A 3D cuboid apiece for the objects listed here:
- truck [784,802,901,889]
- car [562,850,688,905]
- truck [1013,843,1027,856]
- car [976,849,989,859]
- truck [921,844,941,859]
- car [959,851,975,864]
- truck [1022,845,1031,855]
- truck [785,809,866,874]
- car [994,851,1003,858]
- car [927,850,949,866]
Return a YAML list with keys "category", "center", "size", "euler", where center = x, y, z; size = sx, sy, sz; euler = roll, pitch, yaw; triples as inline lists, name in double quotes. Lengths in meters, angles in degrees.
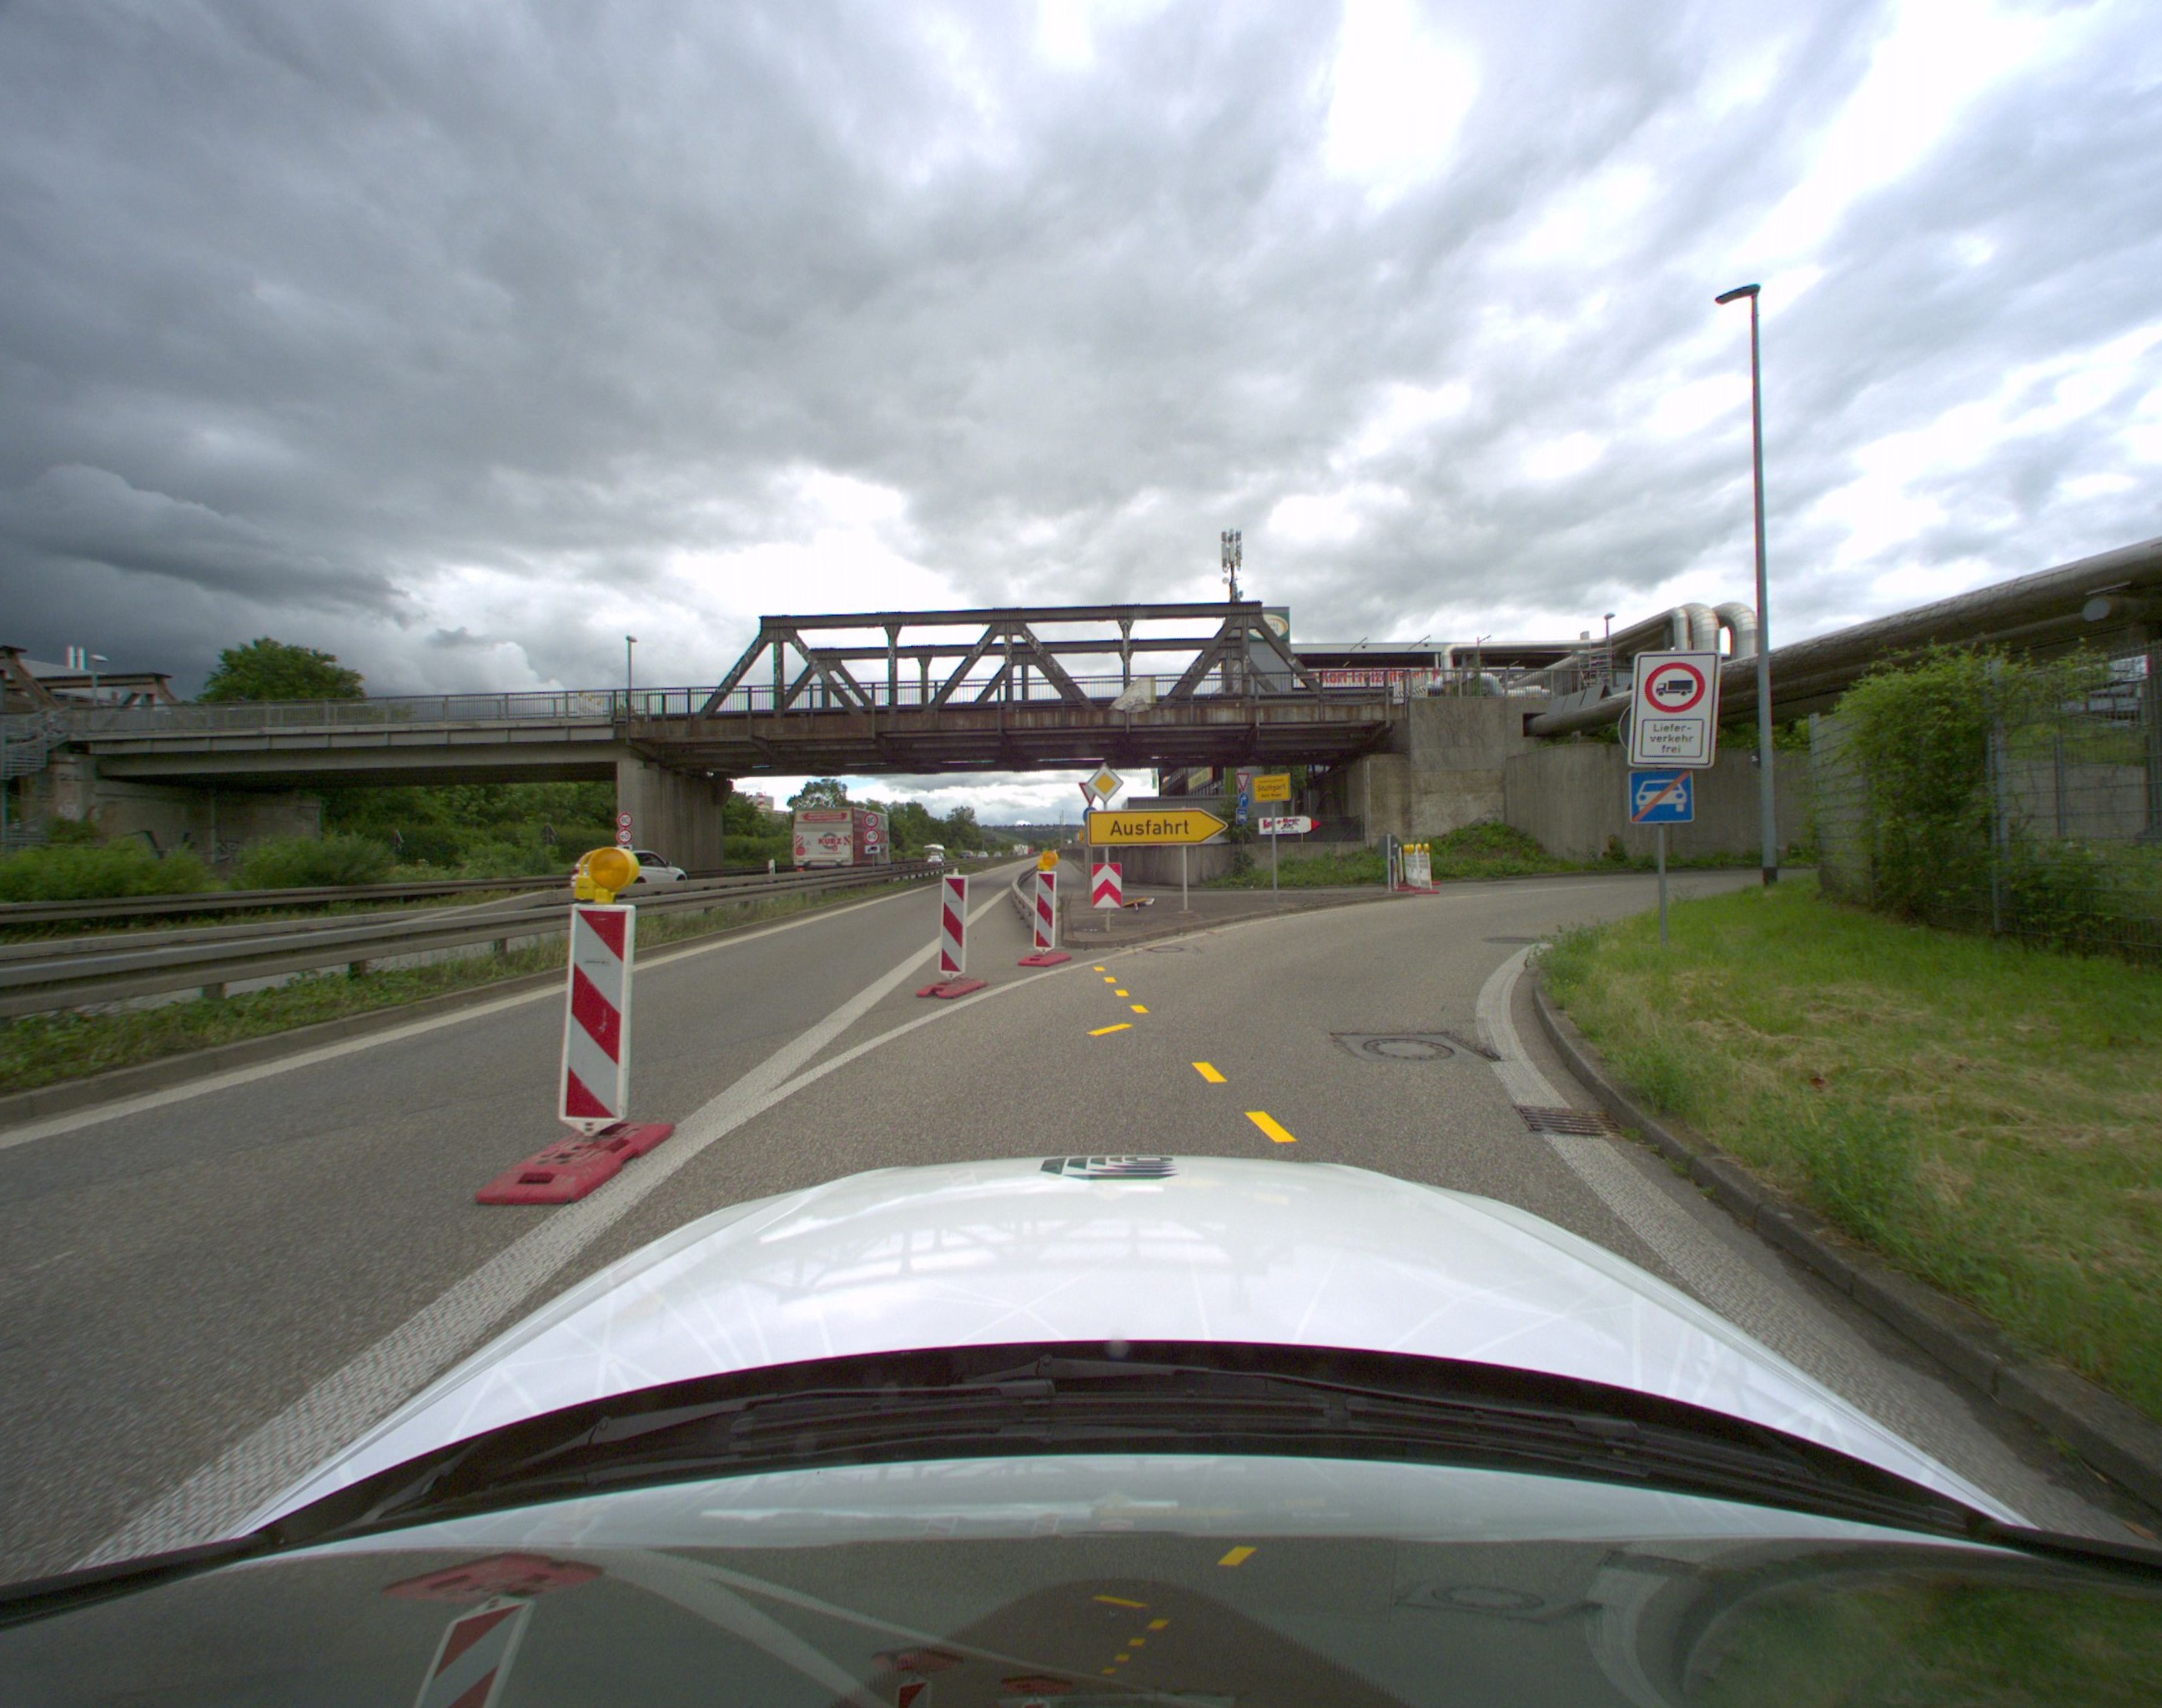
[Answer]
- category: "truck"
  center: [-11.191, -0.436, 39.453]
  size: [2.945, 3.629, 10.147]
  euler: [-1, 1, -2]
- category: "car"
  center: [-14.849, 0.715, 26.817]
  size: [1.850, 1.640, 4.287]
  euler: [0, 0, -3]
- category: "truck"
  center: [-17.651, -1.355, 236.536]
  size: [3.709, 3.645, 7.724]
  euler: [-1, 0, -1]
- category: "car"
  center: [-17.934, 0.001, 148.530]
  size: [1.989, 1.816, 3.996]
  euler: [-1, 0, -2]
- category: "truck"
  center: [-29.777, -0.523, 161.673]
  size: [2.487, 2.846, 7.256]
  euler: [0, 0, 2]
- category: "car"
  center: [-16.821, 0.518, 120.309]
  size: [1.989, 1.759, 3.996]
  euler: [-2, 0, -3]
- category: "truck"
  center: [-17.038, -1.264, 254.859]
  size: [2.673, 3.140, 6.129]
  euler: [0, 0, -1]
- category: "truck"
  center: [-15.313, -0.693, 49.491]
  size: [2.989, 3.556, 7.727]
  euler: [-2, 0, -5]
- category: "car"
  center: [-18.868, 0.139, 186.083]
  size: [1.774, 1.596, 3.748]
  euler: [-1, 0, -1]
- category: "car"
  center: [-16.505, 0.428, 94.249]
  size: [1.989, 1.759, 3.995]
  euler: [-2, 0, -4]
